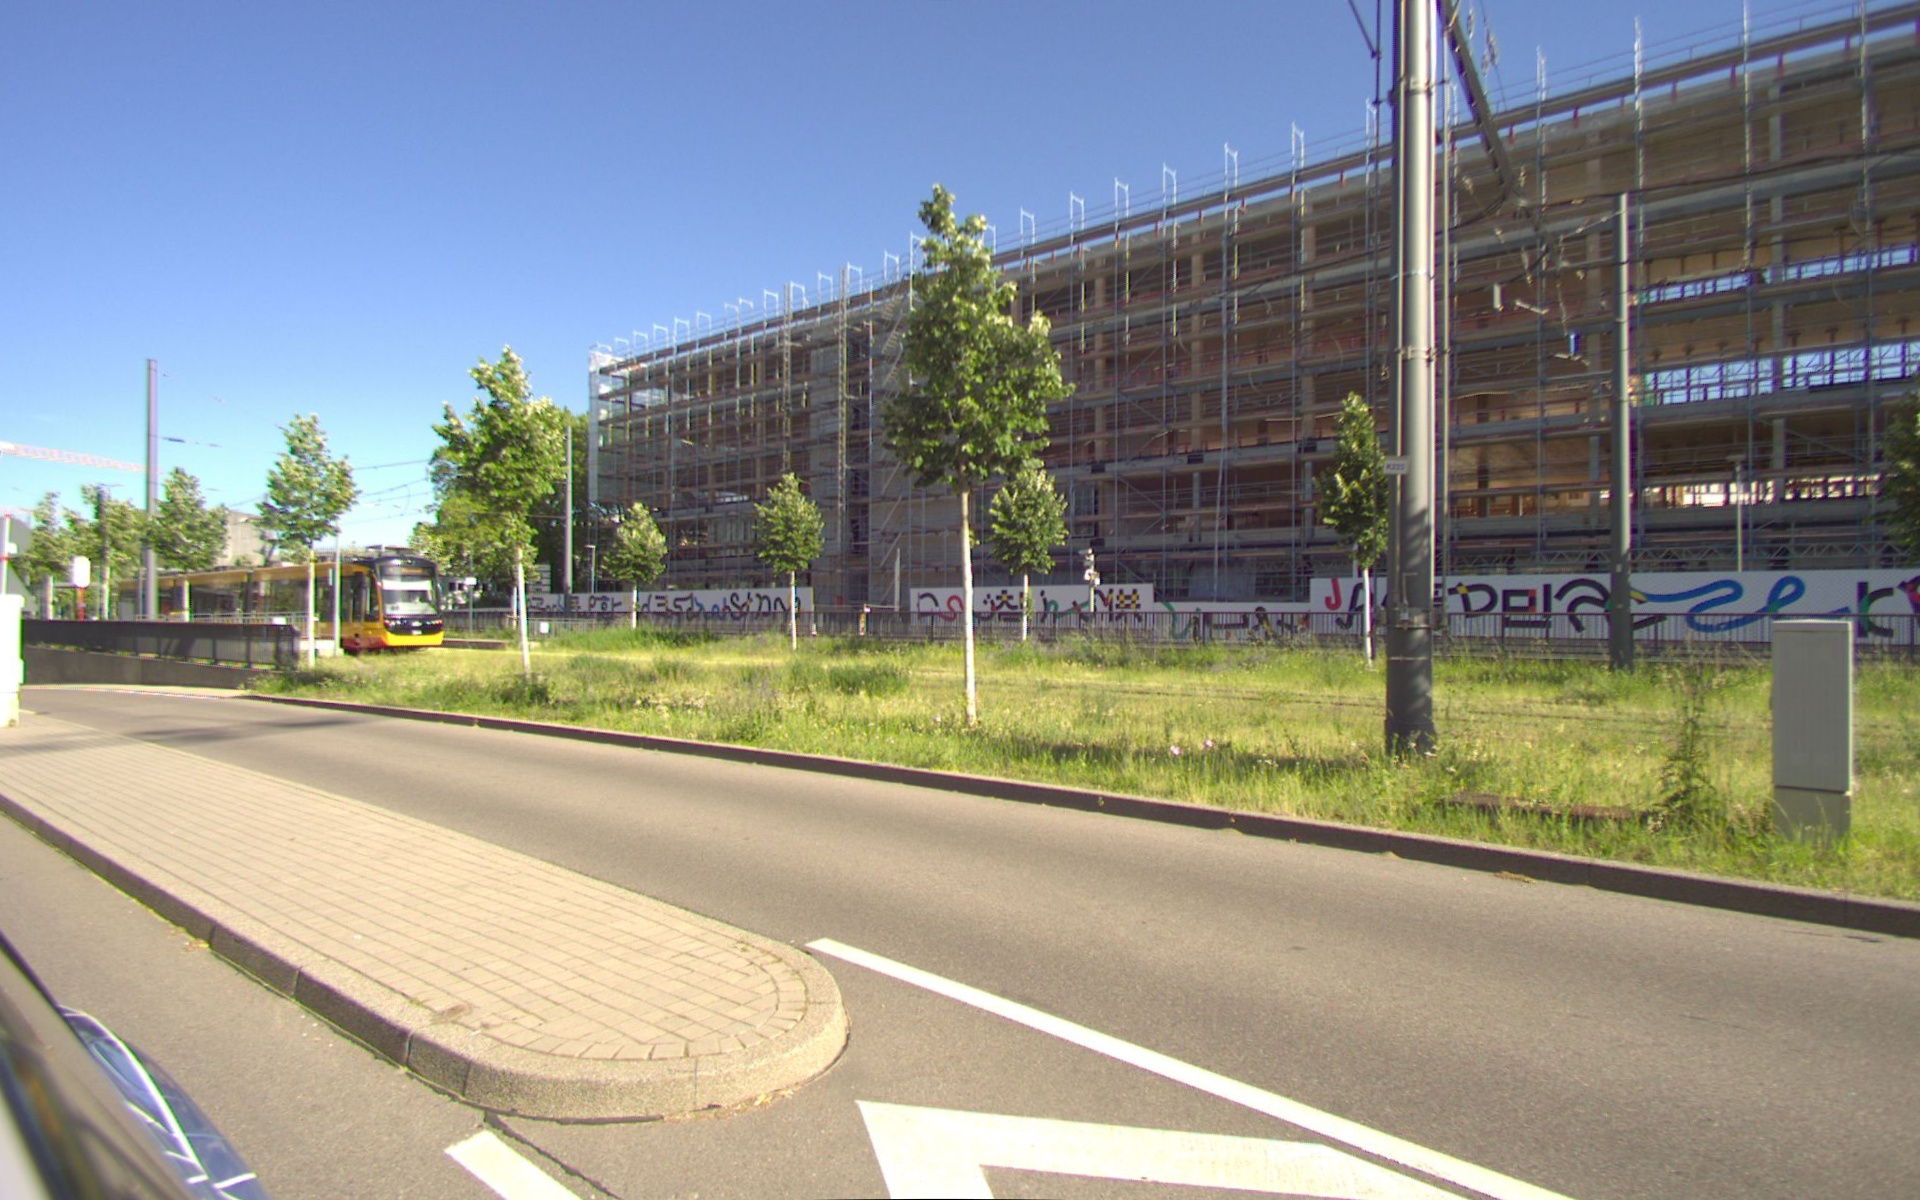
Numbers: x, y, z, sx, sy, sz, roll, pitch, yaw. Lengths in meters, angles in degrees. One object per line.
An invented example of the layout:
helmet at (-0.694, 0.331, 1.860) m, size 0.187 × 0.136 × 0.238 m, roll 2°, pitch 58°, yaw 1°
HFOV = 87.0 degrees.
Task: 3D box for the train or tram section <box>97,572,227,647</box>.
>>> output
train or tram section at (-43.062, 0.556, 54.393) m, size 12.776 × 3.666 × 2.787 m, roll -1°, pitch -2°, yaw 40°

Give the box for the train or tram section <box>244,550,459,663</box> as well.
train or tram section at (-23.273, 0.323, 38.189) m, size 12.776 × 3.666 × 2.787 m, roll -1°, pitch -2°, yaw 40°

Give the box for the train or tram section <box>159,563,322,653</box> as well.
train or tram section at (-33.166, 0.432, 46.292) m, size 12.776 × 3.666 × 2.787 m, roll -1°, pitch -2°, yaw 40°
